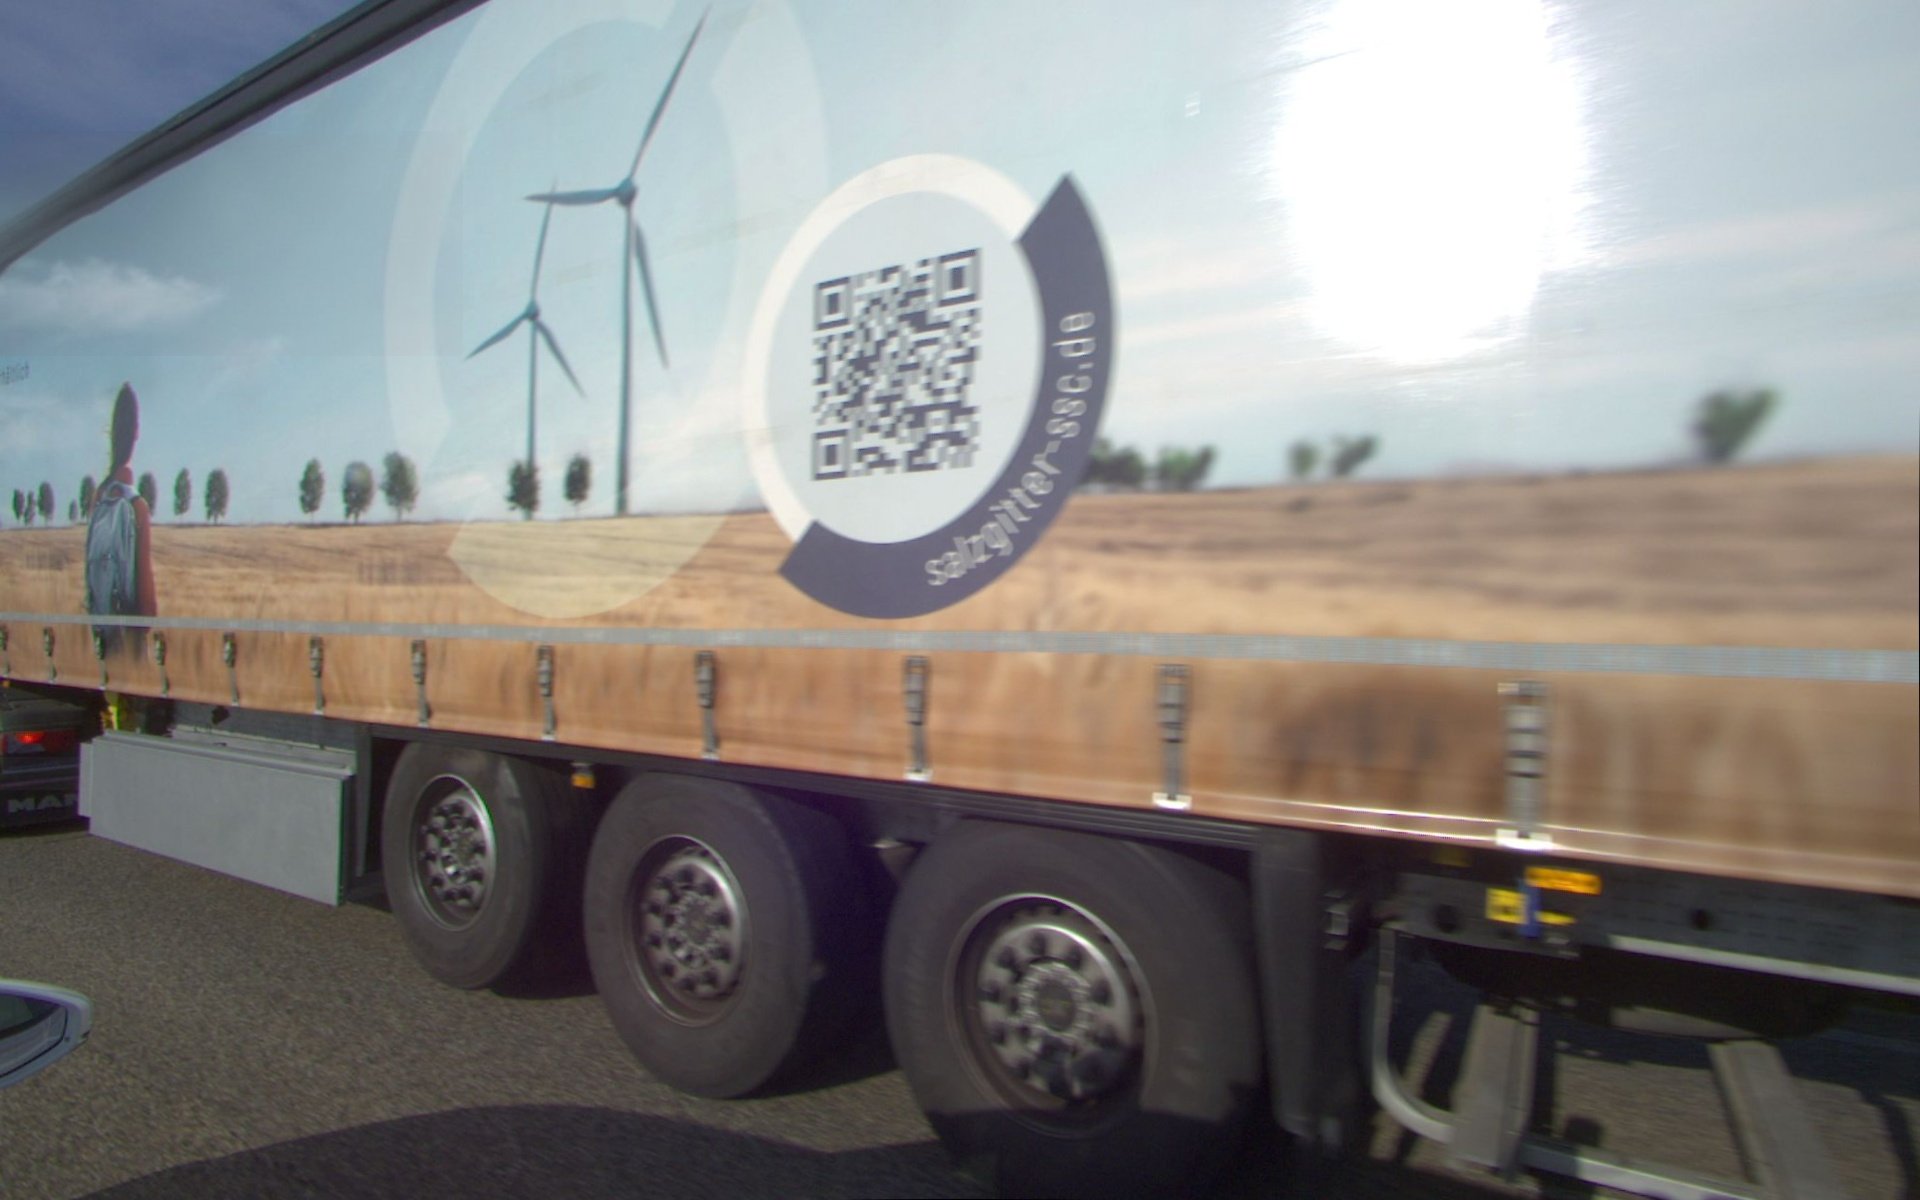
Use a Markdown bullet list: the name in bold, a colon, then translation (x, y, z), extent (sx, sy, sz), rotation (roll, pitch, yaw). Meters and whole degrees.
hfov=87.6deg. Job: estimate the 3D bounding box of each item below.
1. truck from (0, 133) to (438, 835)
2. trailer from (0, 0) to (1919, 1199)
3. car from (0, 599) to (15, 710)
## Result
- **truck**: translation (-8.094, -0.725, 9.435), extent (5.651, 4.718, 3.294), rotation (0, -1, 33)
- **trailer**: translation (-1.824, -0.761, 5.418), extent (12.960, 4.742, 3.275), rotation (0, -1, 33)
- **car**: translation (-15.521, 0.777, 14.627), extent (3.697, 1.570, 1.693), rotation (0, 0, 33)
